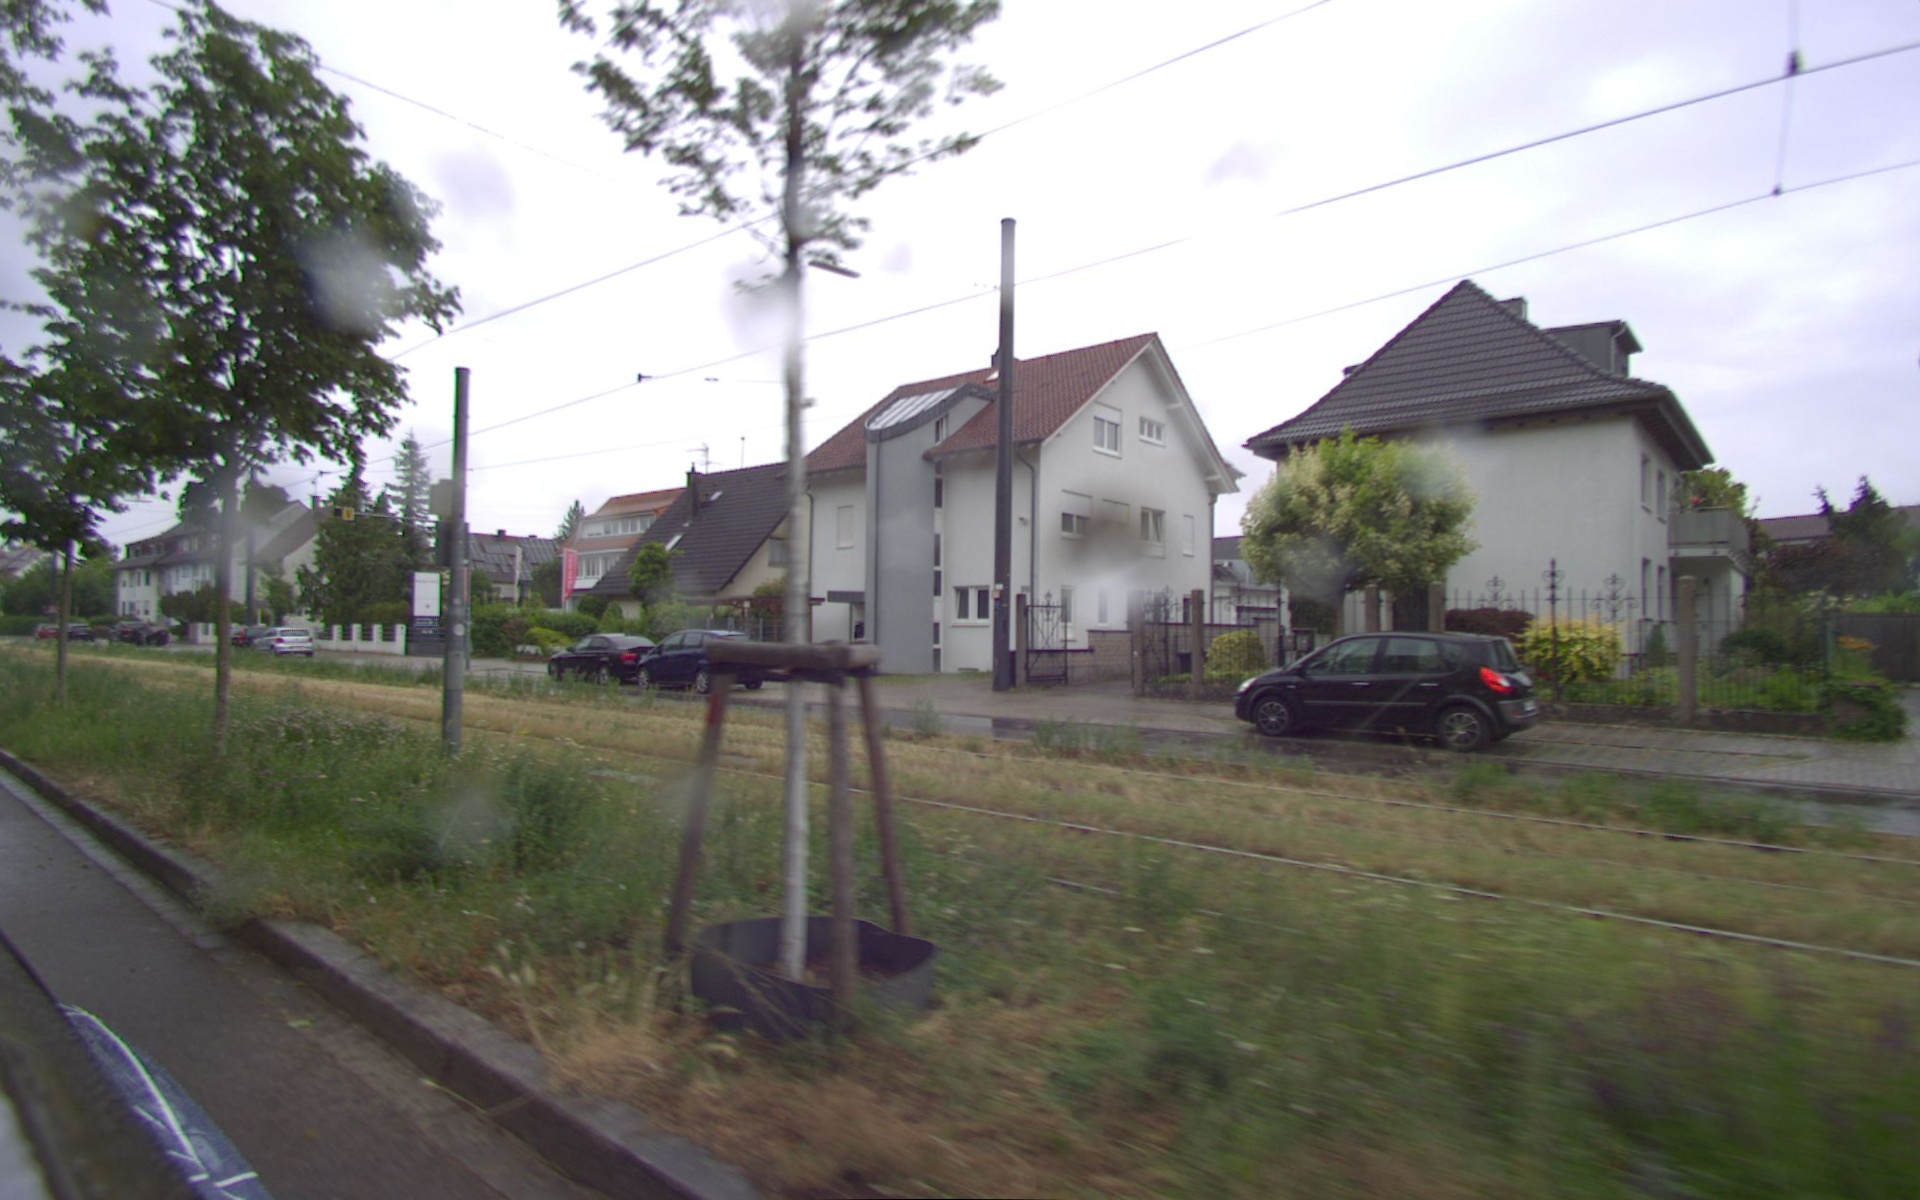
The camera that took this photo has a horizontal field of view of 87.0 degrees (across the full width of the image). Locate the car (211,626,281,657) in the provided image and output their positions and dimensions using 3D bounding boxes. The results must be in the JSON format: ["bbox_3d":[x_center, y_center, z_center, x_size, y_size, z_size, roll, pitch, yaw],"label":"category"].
[{"bbox_3d":[-36.417,2.092,51.588,4.529,1.467,1.972,-2,-1,42],"label":"car"}]

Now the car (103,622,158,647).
[{"bbox_3d":[-56.510,2.321,68.918,4.381,1.687,1.974,-1,-2,38],"label":"car"}]

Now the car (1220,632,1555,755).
[{"bbox_3d":[6.277,1.266,15.128,4.204,1.528,1.972,-2,-1,42],"label":"car"}]

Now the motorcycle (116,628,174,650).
[{"bbox_3d":[-52.793,2.531,65.600,2.645,1.421,1.269,0,0,-8],"label":"motorcycle"}]

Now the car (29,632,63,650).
[{"bbox_3d":[-78.412,3.533,86.817,3.998,1.468,1.779,-2,-1,42],"label":"car"}]

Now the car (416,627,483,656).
[{"bbox_3d":[-26.726,2.161,52.950,3.967,1.421,1.681,-2,-1,40],"label":"car"}]

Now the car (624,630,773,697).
[{"bbox_3d":[-6.838,1.595,26.331,3.867,1.562,1.855,-2,-1,40],"label":"car"}]

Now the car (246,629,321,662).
[{"bbox_3d":[-32.368,2.151,48.386,3.967,1.421,1.974,-2,-1,40],"label":"car"}]

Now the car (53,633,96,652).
[{"bbox_3d":[-69.569,3.299,79.458,4.759,1.421,1.972,-2,-1,42],"label":"car"}]

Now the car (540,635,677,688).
[{"bbox_3d":[-10.316,1.734,29.546,4.238,1.361,1.972,-2,-1,42],"label":"car"}]
